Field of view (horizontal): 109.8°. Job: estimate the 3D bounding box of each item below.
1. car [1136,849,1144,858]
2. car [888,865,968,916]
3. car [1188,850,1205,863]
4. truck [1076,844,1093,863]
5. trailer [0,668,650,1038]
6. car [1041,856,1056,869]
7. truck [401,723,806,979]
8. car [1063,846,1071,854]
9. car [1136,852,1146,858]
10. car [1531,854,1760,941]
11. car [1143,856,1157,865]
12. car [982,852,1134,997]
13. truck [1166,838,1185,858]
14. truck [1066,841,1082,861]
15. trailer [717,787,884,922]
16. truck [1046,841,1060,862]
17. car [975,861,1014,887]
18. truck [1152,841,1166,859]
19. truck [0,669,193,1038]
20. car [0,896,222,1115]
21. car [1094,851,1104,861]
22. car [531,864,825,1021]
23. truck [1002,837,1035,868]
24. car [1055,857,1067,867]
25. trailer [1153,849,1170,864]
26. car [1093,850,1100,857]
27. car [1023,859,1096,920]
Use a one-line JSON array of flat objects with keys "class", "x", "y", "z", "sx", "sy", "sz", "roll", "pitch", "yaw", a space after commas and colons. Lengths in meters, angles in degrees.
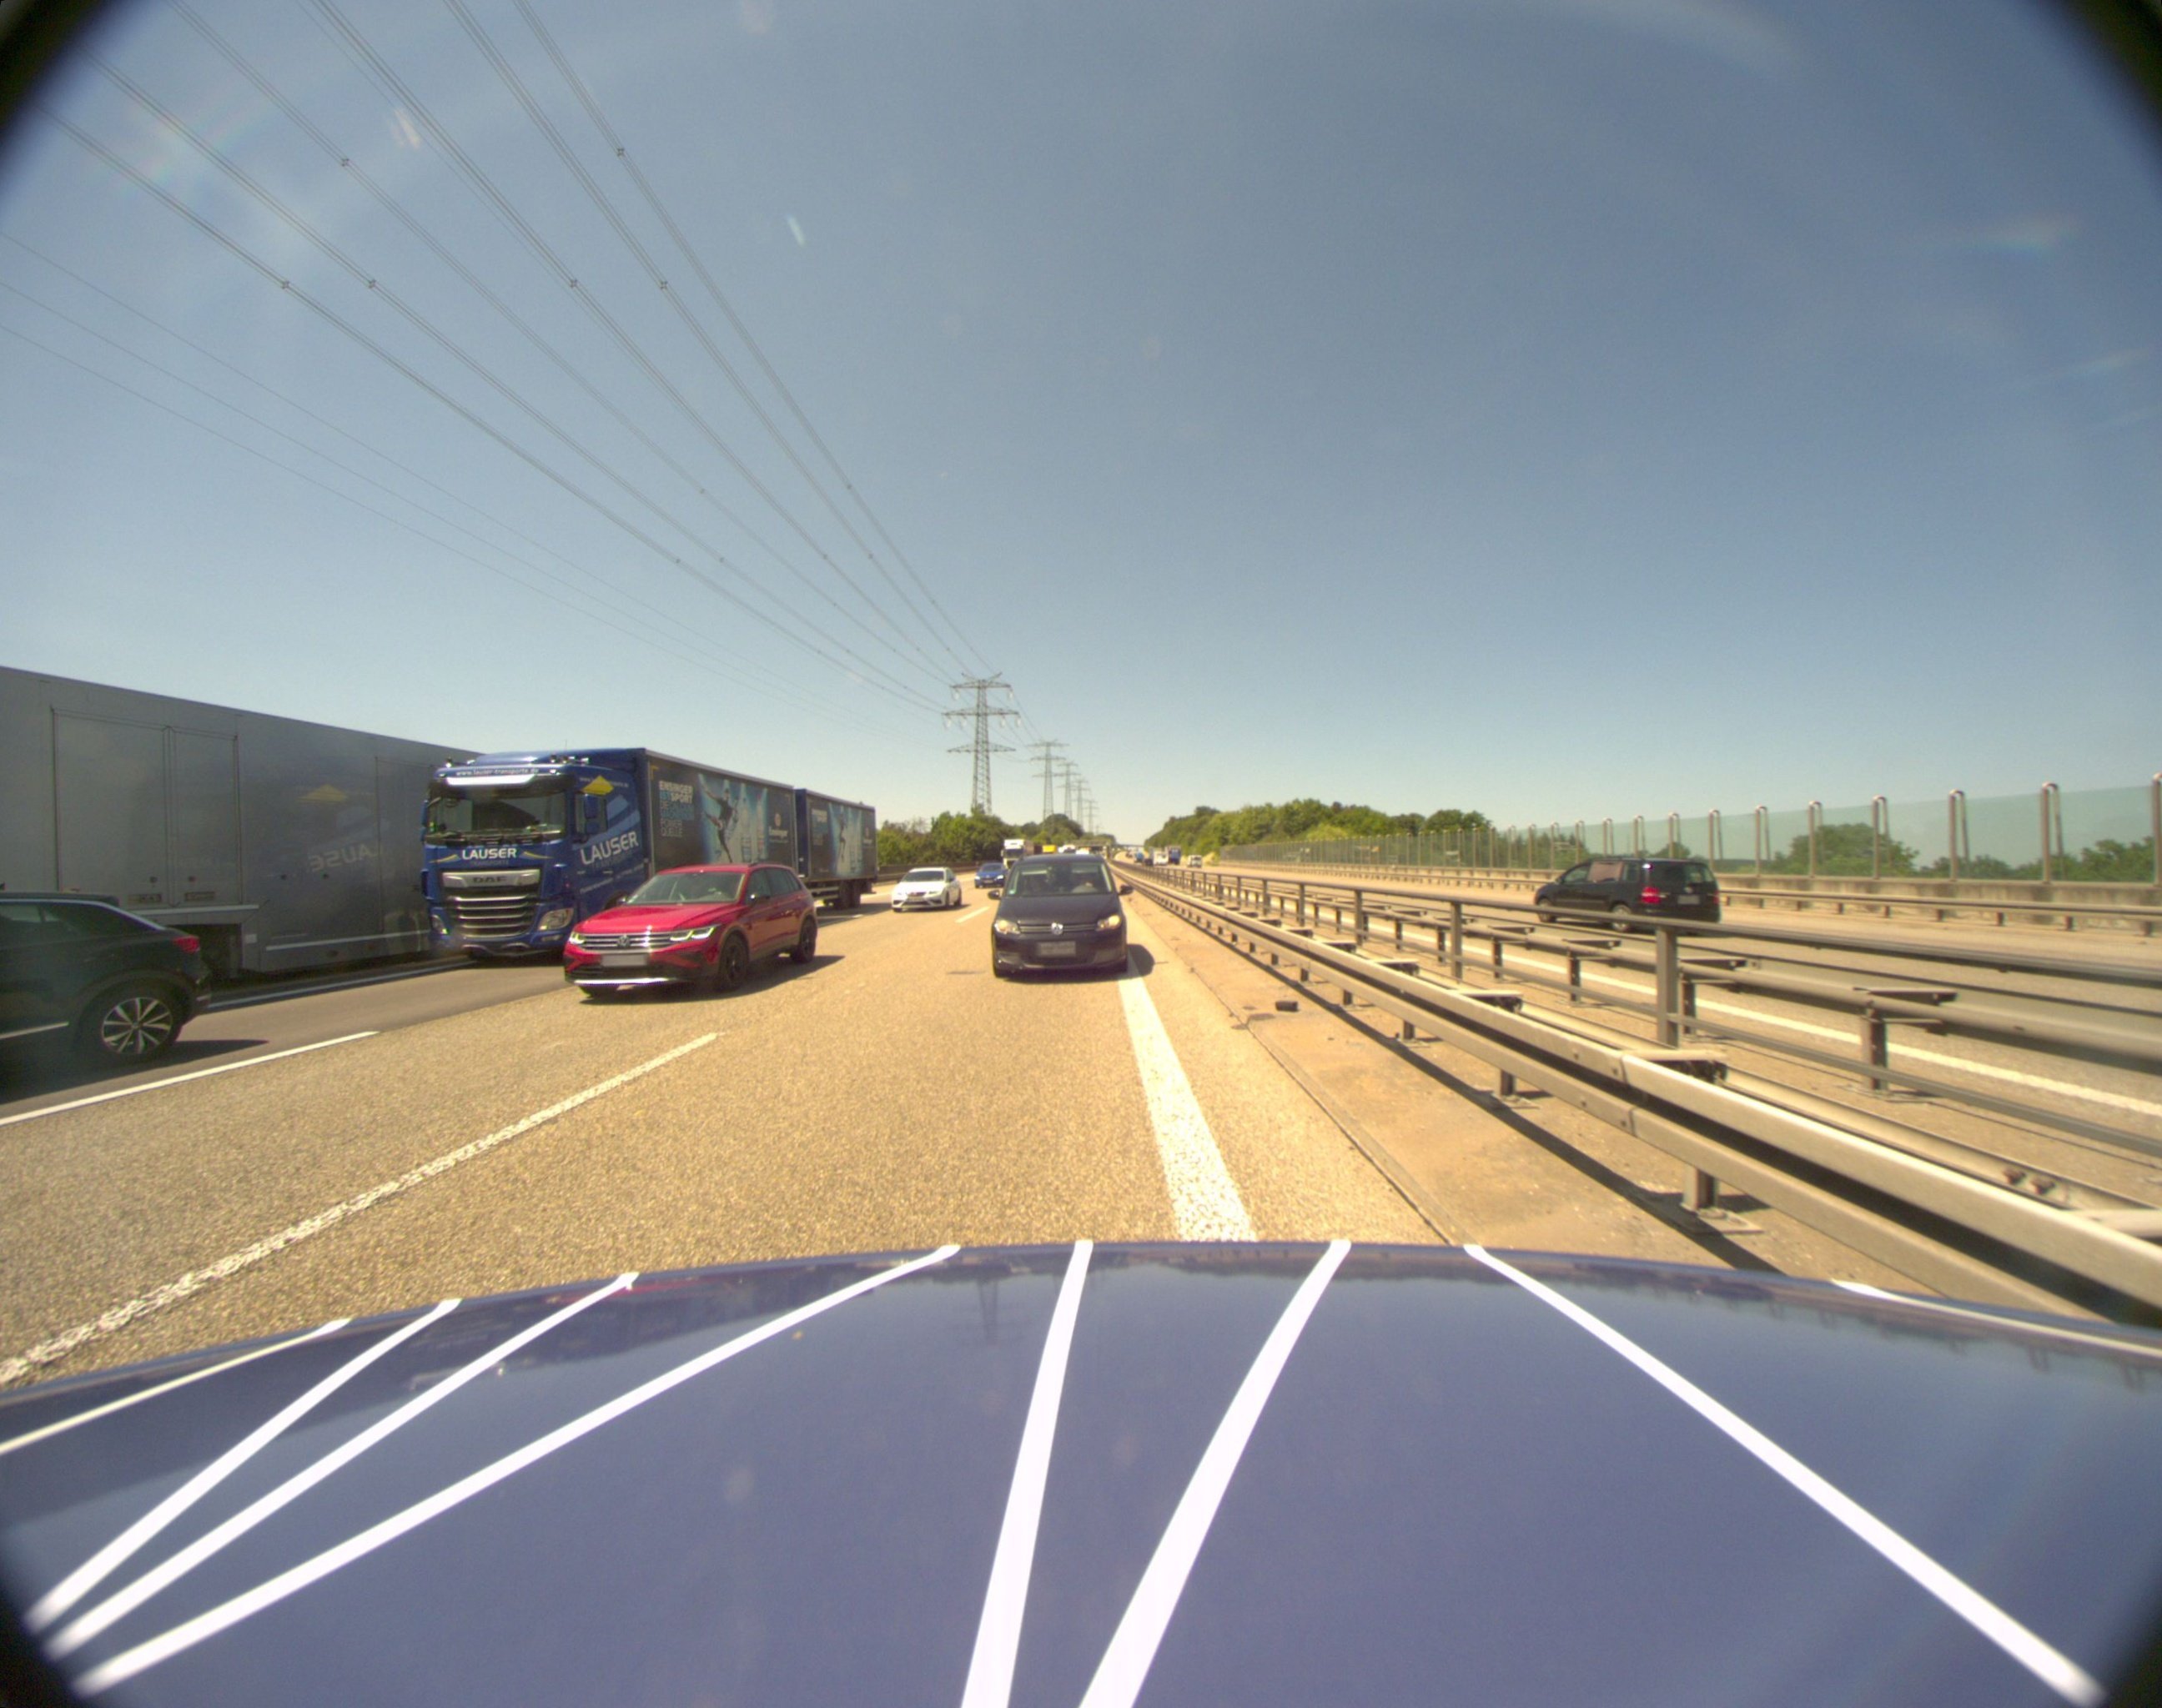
[{"class": "car", "x": 16.907, "y": -0.174, "z": 218.747, "sx": 1.986, "sy": 2.575, "sz": 5.037, "roll": 1, "pitch": 0, "yaw": 0}, {"class": "car", "x": -5.142, "y": 1.186, "z": 25.997, "sx": 1.843, "sy": 1.481, "sz": 4.072, "roll": -2, "pitch": 0, "yaw": 0}, {"class": "car", "x": 18.606, "y": 0.351, "z": 122.511, "sx": 2.039, "sy": 1.972, "sz": 4.489, "roll": 2, "pitch": 0, "yaw": 1}, {"class": "truck", "x": 0.513, "y": -0.046, "z": 104.338, "sx": 2.284, "sy": 2.479, "sz": 5.861, "roll": -2, "pitch": 0, "yaw": 1}, {"class": "trailer", "x": -13.259, "y": 0.029, "z": 14.144, "sx": 2.542, "sy": 4.095, "sz": 13.771, "roll": -2, "pitch": 0, "yaw": 0}, {"class": "car", "x": -4.044, "y": 1.058, "z": 94.627, "sx": 1.763, "sy": 1.495, "sz": 4.094, "roll": -1, "pitch": 0, "yaw": -1}, {"class": "truck", "x": -9.551, "y": -0.046, "z": 17.428, "sx": 2.529, "sy": 4.042, "sz": 10.447, "roll": -2, "pitch": 0, "yaw": 0}, {"class": "car", "x": -3.583, "y": -1.015, "z": 196.865, "sx": 1.998, "sy": 2.002, "sz": 4.000, "roll": 0, "pitch": 0, "yaw": 1}, {"class": "car", "x": 13.872, "y": 0.176, "z": 175.763, "sx": 1.853, "sy": 1.386, "sz": 4.000, "roll": 2, "pitch": 0, "yaw": 0}, {"class": "car", "x": 12.381, "y": 0.860, "z": 17.086, "sx": 1.999, "sy": 1.662, "sz": 4.186, "roll": 1, "pitch": 0, "yaw": 0}, {"class": "car", "x": 10.793, "y": 1.025, "z": 118.603, "sx": 1.772, "sy": 1.411, "sz": 4.266, "roll": 0, "pitch": 0, "yaw": 1}, {"class": "car", "x": -0.267, "y": 0.834, "z": 11.024, "sx": 1.740, "sy": 1.652, "sz": 4.000, "roll": -2, "pitch": 0, "yaw": 0}, {"class": "truck", "x": 19.631, "y": -1.198, "z": 158.761, "sx": 2.876, "sy": 4.062, "sz": 9.989, "roll": 1, "pitch": 0, "yaw": 1}, {"class": "truck", "x": -1.371, "y": -0.618, "z": 154.941, "sx": 2.980, "sy": 3.832, "sz": 10.562, "roll": -2, "pitch": 0, "yaw": 1}, {"class": "trailer", "x": -9.460, "y": 0.024, "z": 26.913, "sx": 2.572, "sy": 3.921, "sz": 8.479, "roll": -2, "pitch": 0, "yaw": 0}, {"class": "truck", "x": -5.751, "y": -0.570, "z": 158.128, "sx": 2.346, "sy": 4.057, "sz": 8.279, "roll": -2, "pitch": 0, "yaw": 1}, {"class": "car", "x": -5.197, "y": 1.180, "z": 46.040, "sx": 1.739, "sy": 1.437, "sz": 4.211, "roll": -1, "pitch": 0, "yaw": 2}, {"class": "truck", "x": 20.790, "y": -1.139, "z": 203.106, "sx": 2.876, "sy": 4.513, "sz": 9.989, "roll": 1, "pitch": 0, "yaw": 1}, {"class": "truck", "x": -13.243, "y": 0.018, "z": 7.315, "sx": 2.523, "sy": 4.095, "sz": 5.715, "roll": -2, "pitch": 0, "yaw": 0}, {"class": "car", "x": -8.782, "y": 1.177, "z": 4.896, "sx": 1.740, "sy": 1.518, "sz": 4.106, "roll": -2, "pitch": 0, "yaw": 1}, {"class": "car", "x": 3.764, "y": 0.360, "z": 161.471, "sx": 1.998, "sy": 2.002, "sz": 4.000, "roll": -2, "pitch": 0, "yaw": 1}, {"class": "car", "x": -5.169, "y": 1.008, "z": 10.525, "sx": 1.779, "sy": 1.652, "sz": 4.224, "roll": -1, "pitch": 0, "yaw": 0}, {"class": "truck", "x": -7.798, "y": -0.169, "z": 96.086, "sx": 2.985, "sy": 3.538, "sz": 10.967, "roll": -2, "pitch": 0, "yaw": 0}, {"class": "car", "x": -3.105, "y": 1.240, "z": 116.641, "sx": 1.763, "sy": 1.495, "sz": 4.094, "roll": -1, "pitch": 0, "yaw": 0}, {"class": "trailer", "x": 14.568, "y": 0.411, "z": 137.519, "sx": 2.322, "sy": 2.690, "sz": 6.361, "roll": 1, "pitch": 0, "yaw": 0}, {"class": "car", "x": 4.624, "y": -0.149, "z": 221.789, "sx": 1.998, "sy": 2.002, "sz": 4.000, "roll": -2, "pitch": 0, "yaw": 1}, {"class": "car", "x": -0.533, "y": 0.930, "z": 21.709, "sx": 1.845, "sy": 1.495, "sz": 4.377, "roll": -1, "pitch": 0, "yaw": 0}]
